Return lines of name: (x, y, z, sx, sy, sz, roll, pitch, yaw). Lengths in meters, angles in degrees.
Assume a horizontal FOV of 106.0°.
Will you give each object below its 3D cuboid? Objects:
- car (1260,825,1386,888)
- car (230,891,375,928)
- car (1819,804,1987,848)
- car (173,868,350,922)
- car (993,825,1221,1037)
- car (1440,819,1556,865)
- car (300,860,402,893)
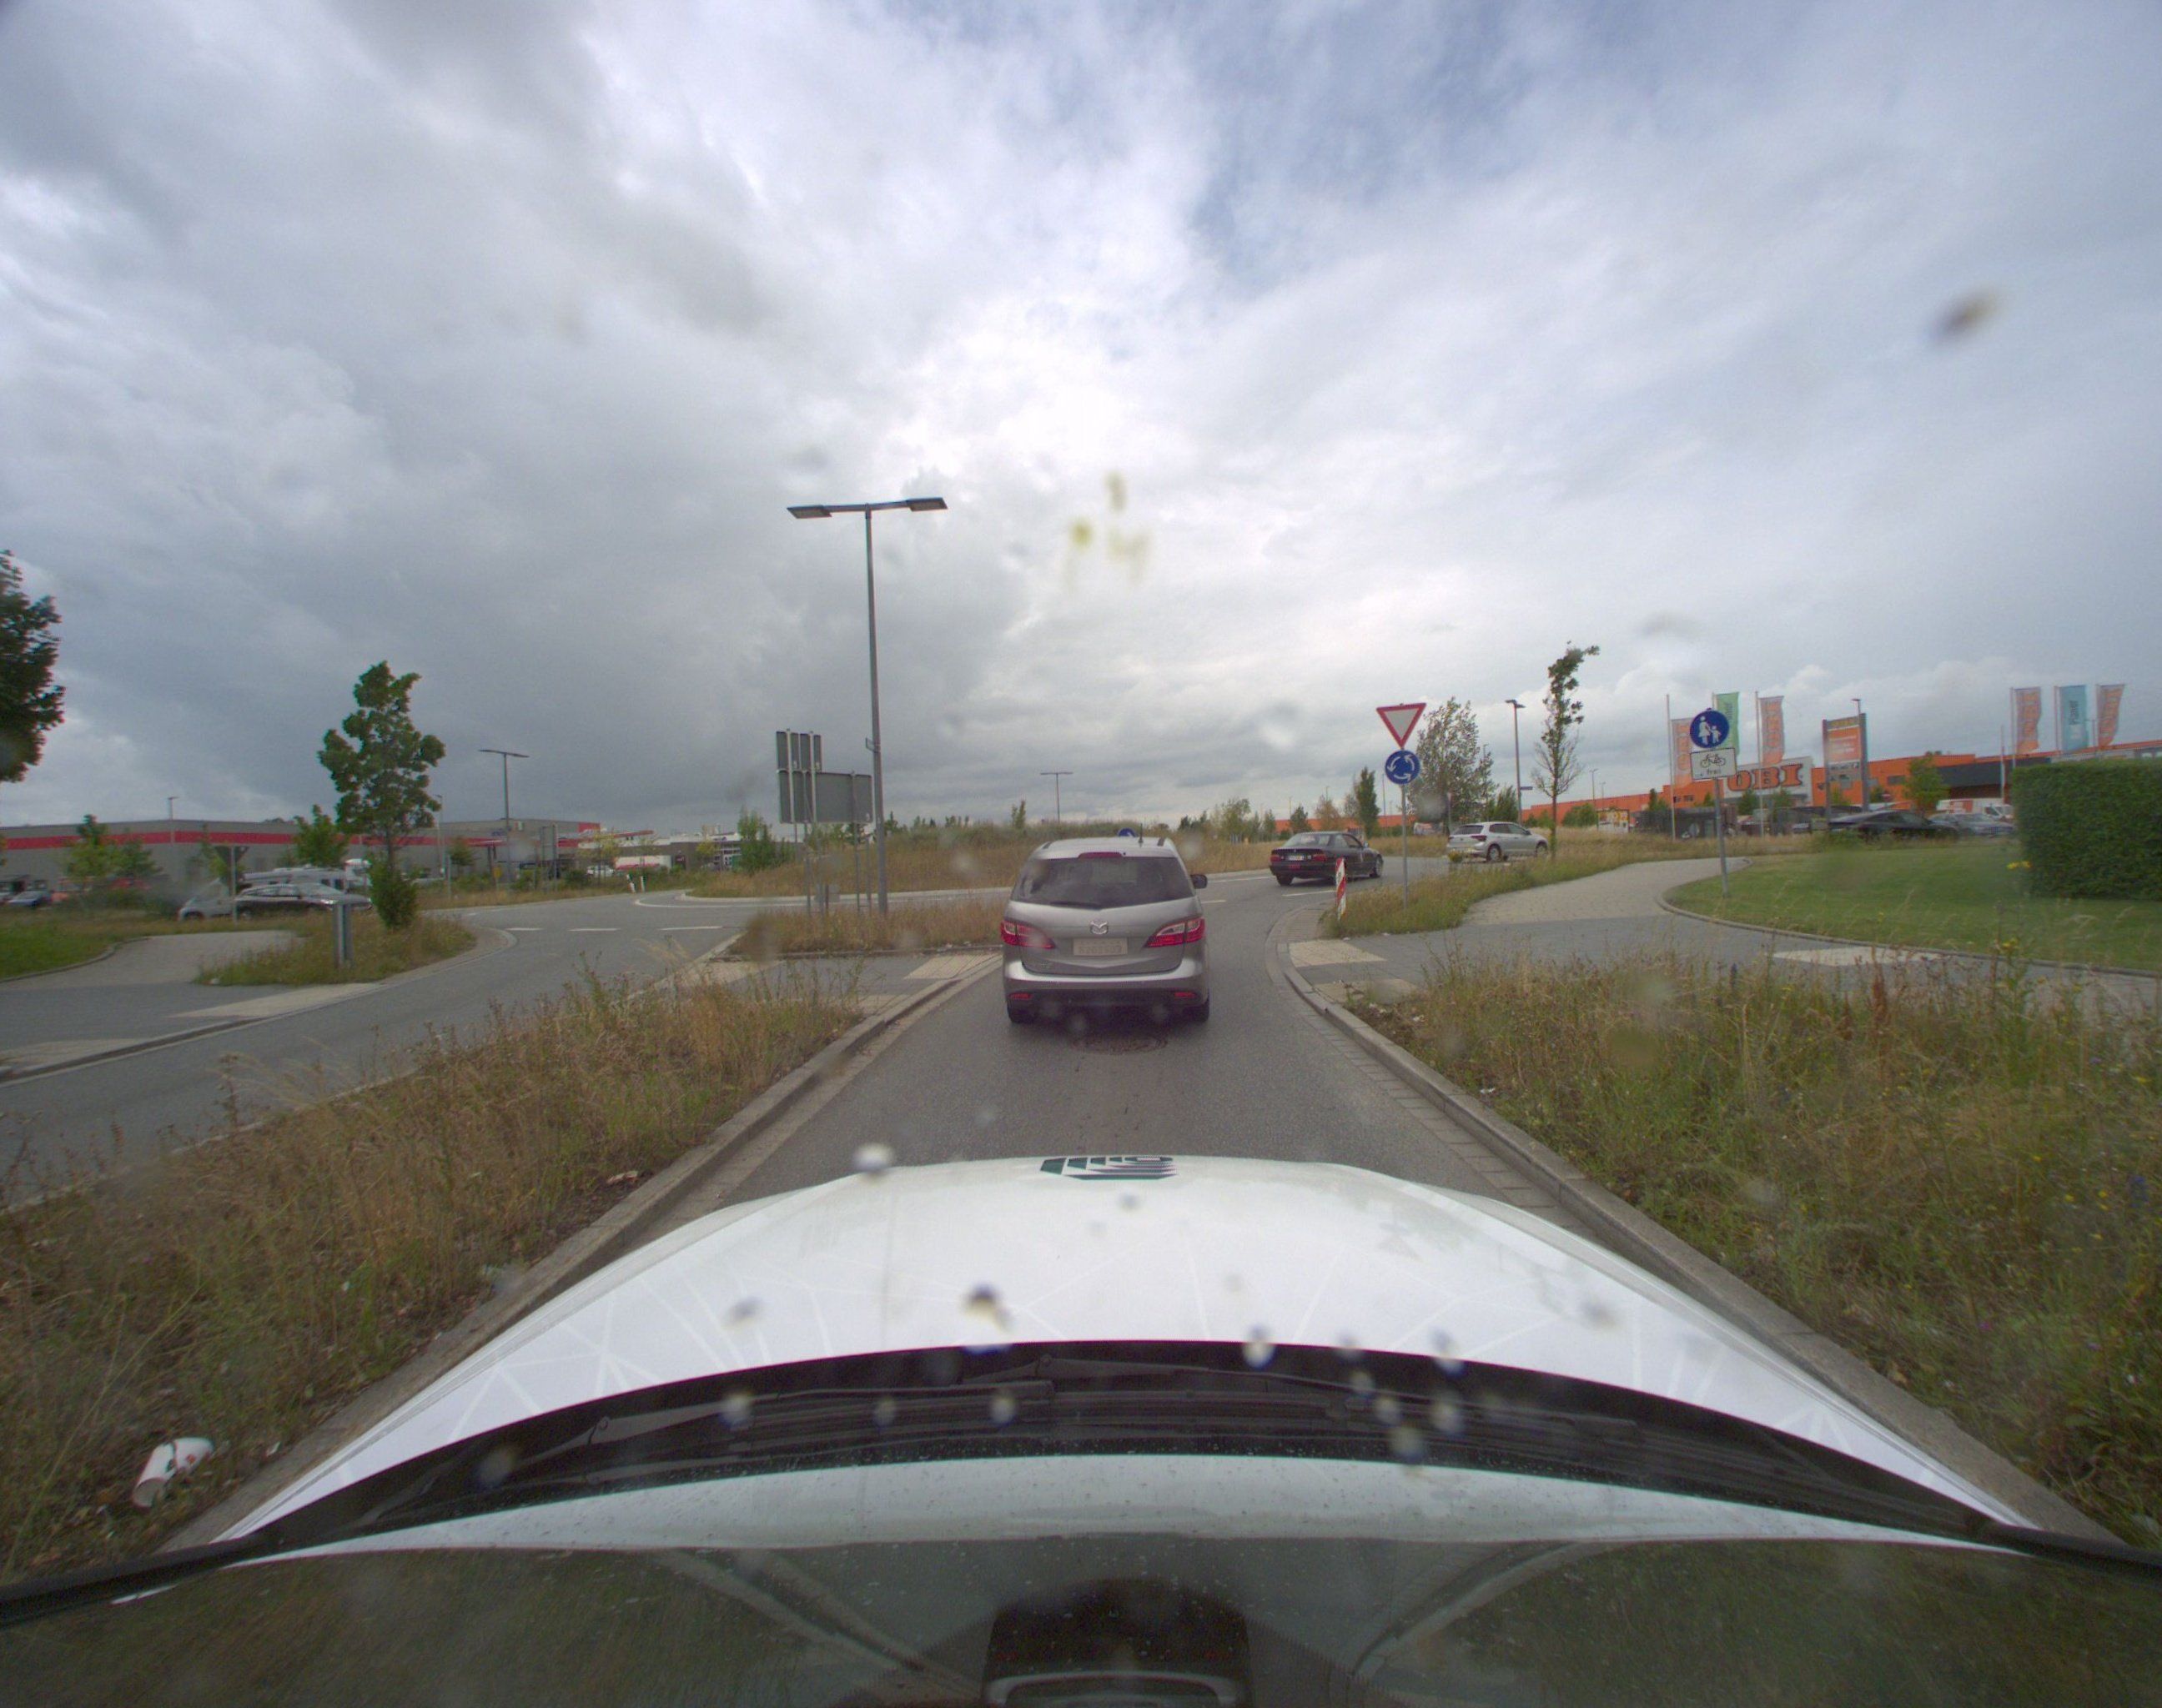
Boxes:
car: (6.441, 0.002, 21.386, 1.721, 1.403, 4.023, 1, 3, 39)
car: (-29.018, 2.049, 30.460, 3.581, 1.251, 1.672, -1, -1, -8)
car: (33.852, -1.173, 33.656, 4.734, 1.498, 1.948, -3, 2, 6)
car: (-39.481, 1.933, 39.411, 5.693, 2.387, 2.273, -1, -1, -10)
car: (0.225, 0.565, 8.242, 1.732, 1.598, 3.998, -1, 1, 1)
car: (15.112, -0.469, 29.466, 4.011, 1.463, 1.797, -3, 3, -29)
car: (-66.659, 2.032, 74.676, 2.455, 2.820, 7.686, -1, -1, -1)
